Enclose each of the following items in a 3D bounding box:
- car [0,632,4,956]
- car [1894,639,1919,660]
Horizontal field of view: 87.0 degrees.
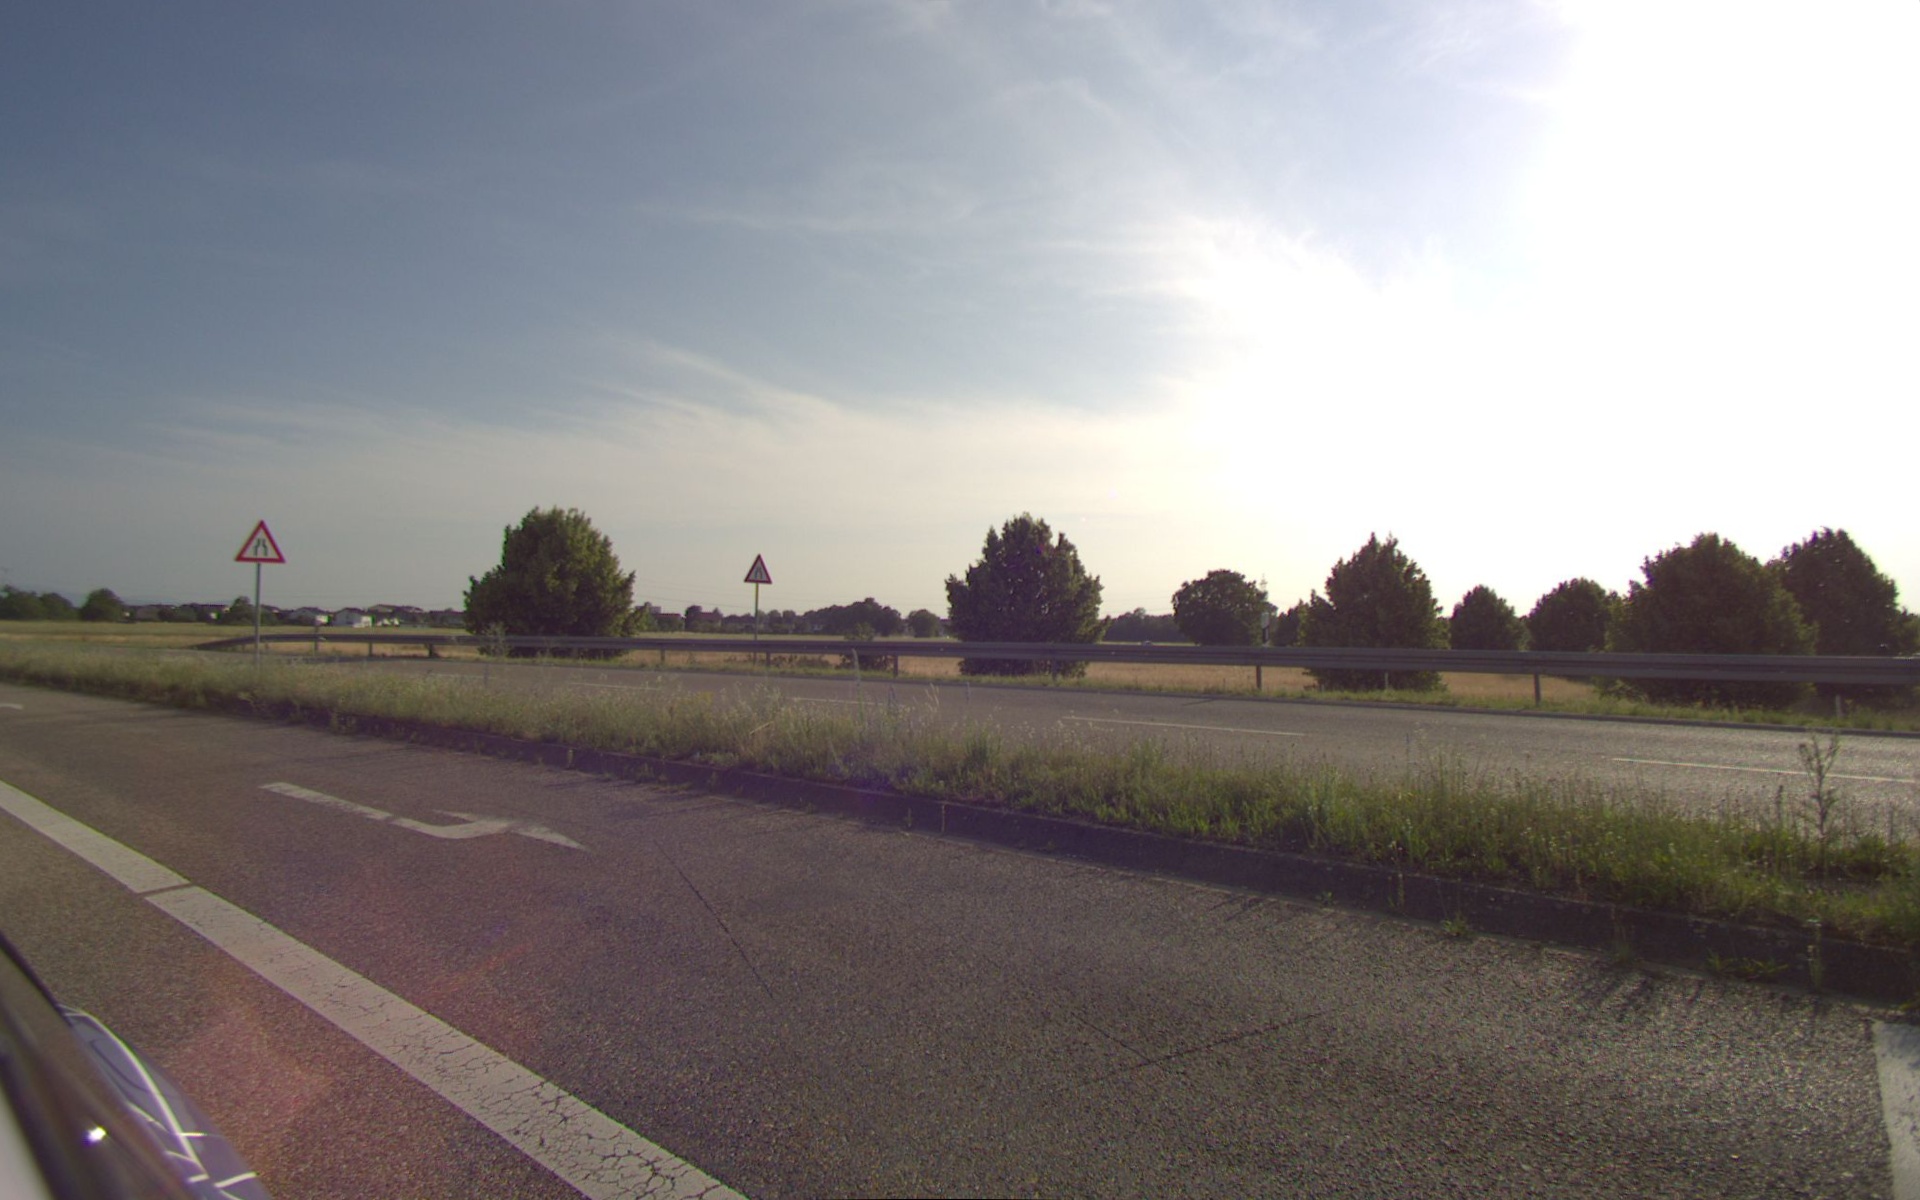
[{"bbox_3d":[-6.297,0.876,4.900,3.914,1.407,1.917,-1,0,39],"label":"car"},{"bbox_3d":[61.703,3.141,64.452,1.715,1.292,4.627,-1,-1,23],"label":"car"}]
